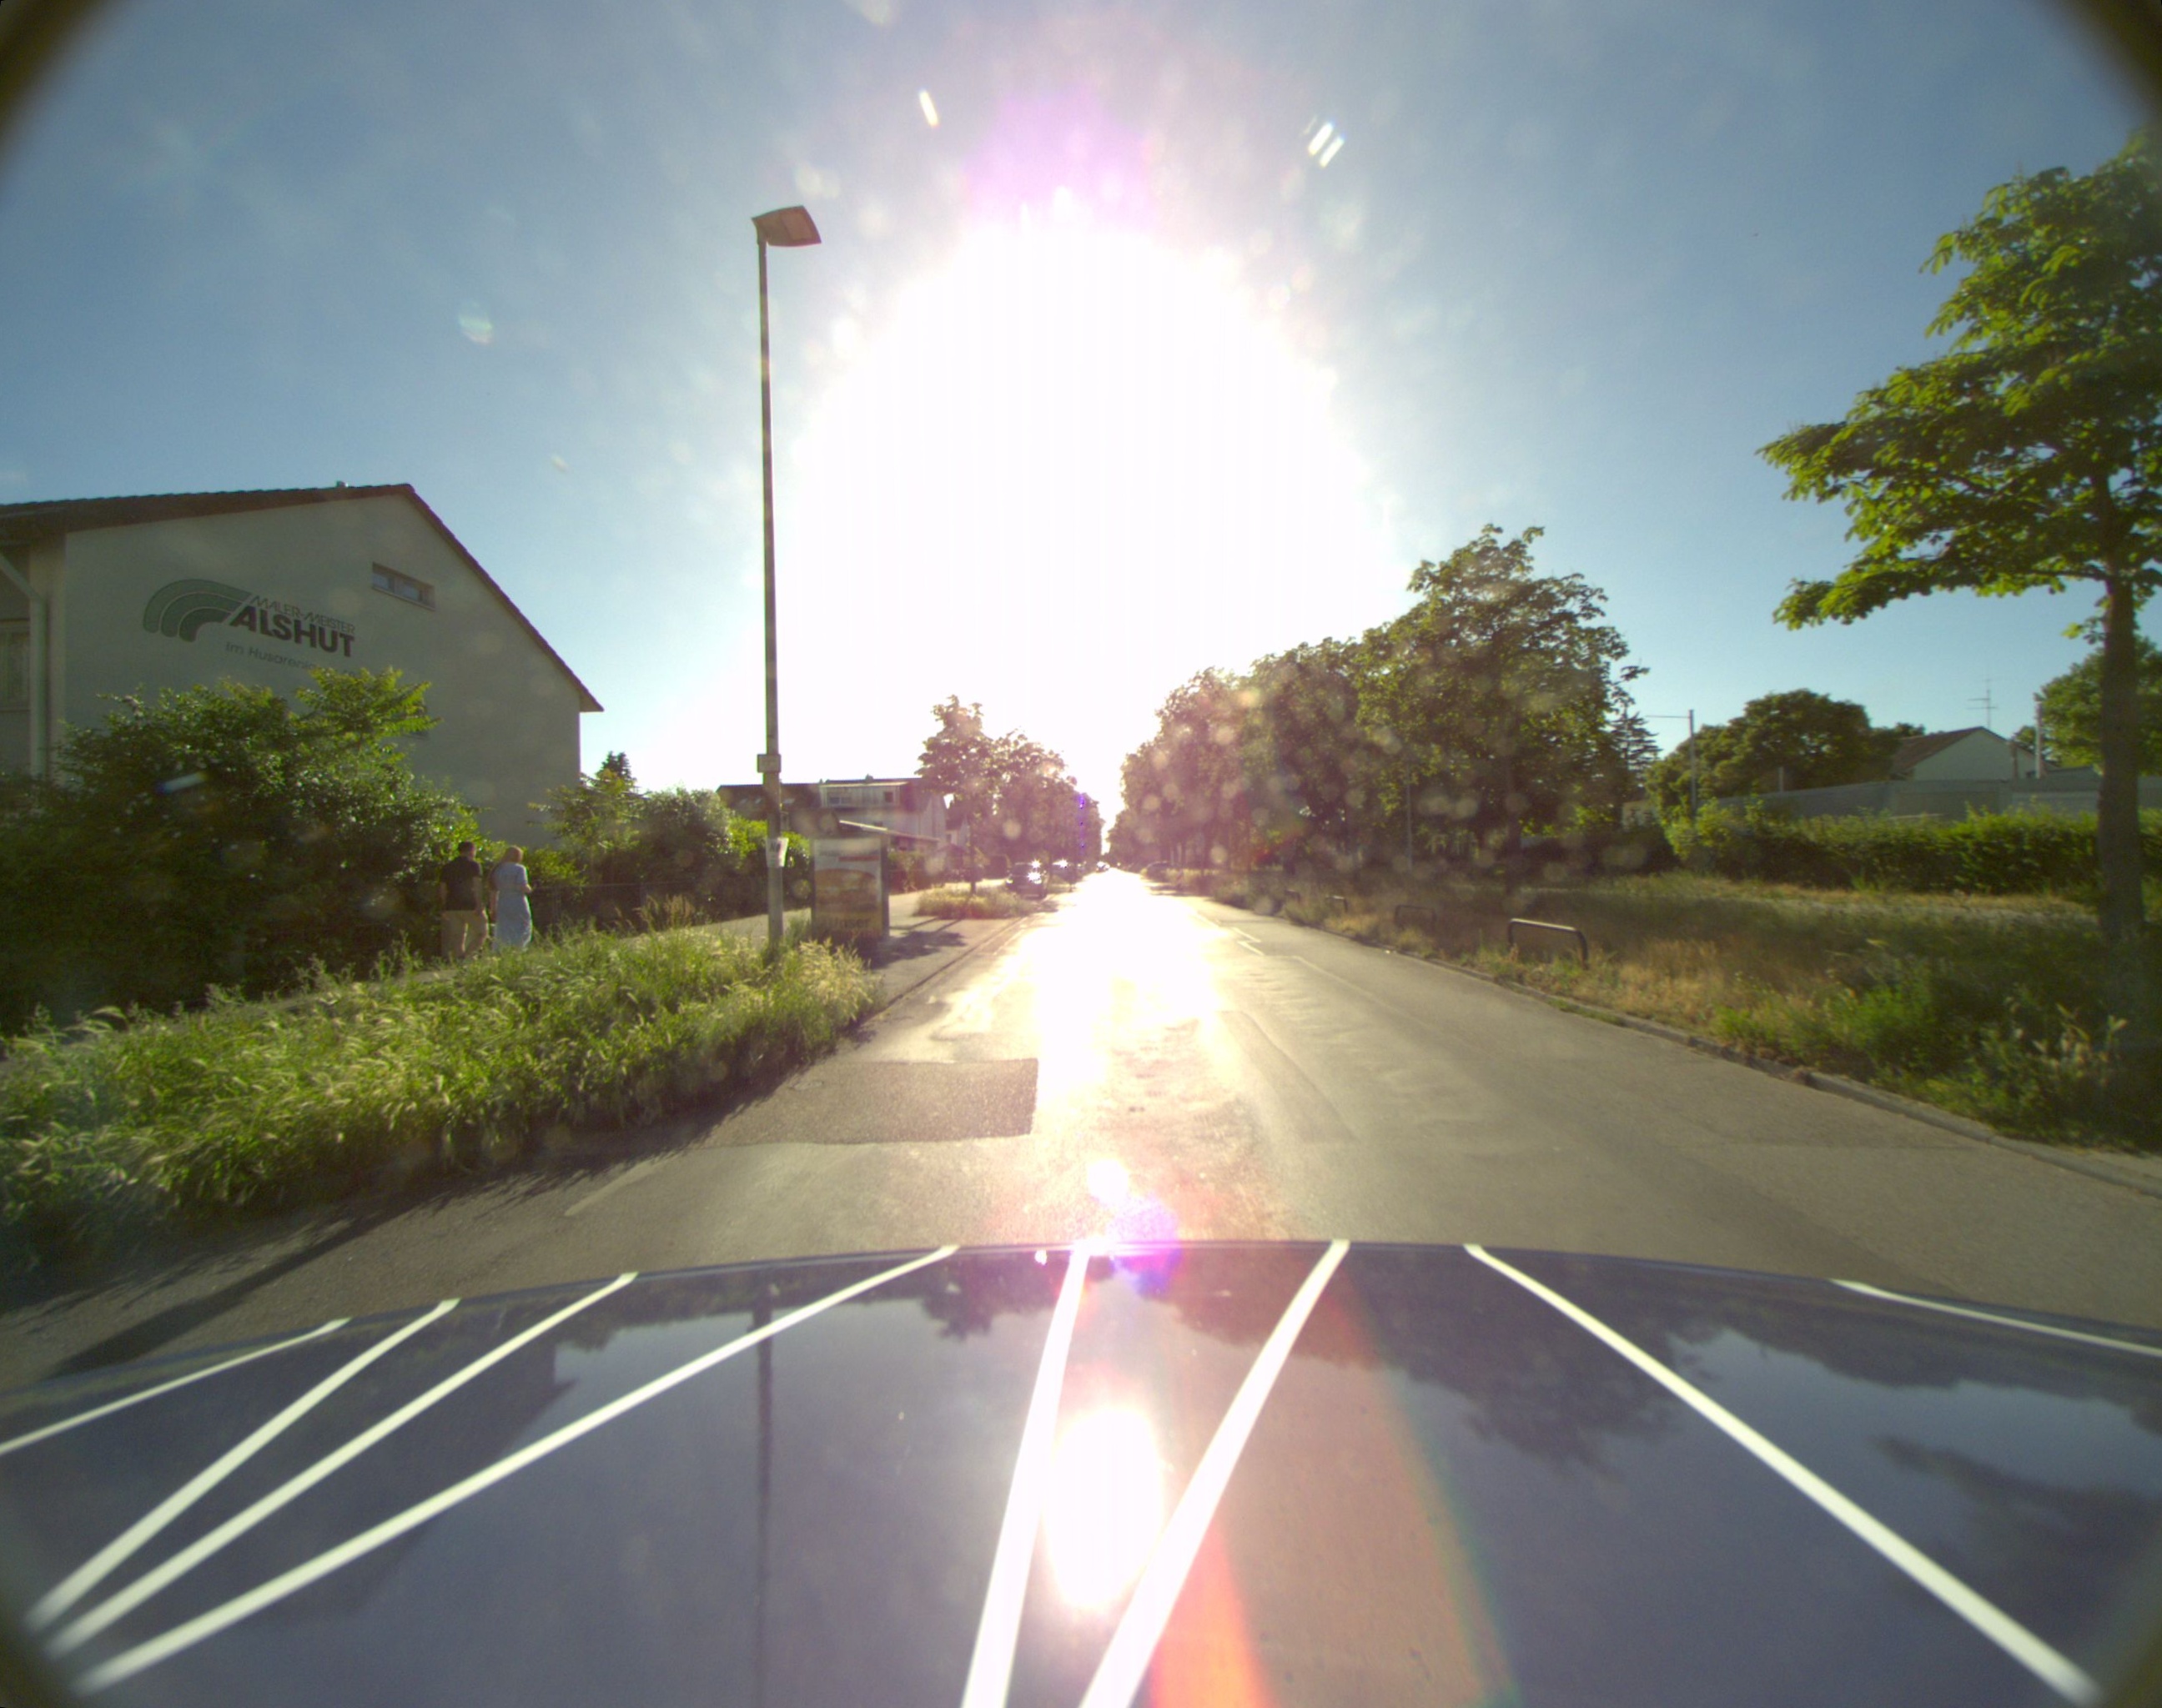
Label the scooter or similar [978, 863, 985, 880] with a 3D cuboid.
[{"bbox_3d":[-7.739,1.362,59.088,0.503,1.288,0.461,0,0,-2],"label":"scooter or similar"}]

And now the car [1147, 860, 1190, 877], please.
[{"bbox_3d":[9.108,1.496,79.244,4.203,1.552,2.000,-2,0,2],"label":"car"}]

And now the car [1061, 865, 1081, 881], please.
[{"bbox_3d":[-0.898,1.825,72.323,1.733,1.473,3.859,0,-1,1],"label":"car"}]

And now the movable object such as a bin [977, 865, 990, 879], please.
[{"bbox_3d":[-9.273,1.743,72.305,1.172,1.286,0.928,0,0,1],"label":"movable object such as a bin"}]

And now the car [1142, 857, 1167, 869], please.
[{"bbox_3d":[12.151,1.511,125.681,3.997,1.739,1.891,-2,0,1],"label":"car"}]

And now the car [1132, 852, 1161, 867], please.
[{"bbox_3d":[12.275,1.094,142.262,5.121,2.596,2.126,-2,0,5],"label":"car"}]

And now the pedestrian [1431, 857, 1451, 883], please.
[{"bbox_3d":[16.996,0.742,35.888,0.639,1.150,0.522,-4,0,1],"label":"pedestrian"}]

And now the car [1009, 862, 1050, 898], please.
[{"bbox_3d":[-2.329,1.141,34.816,1.497,1.564,3.601,1,0,2],"label":"car"}]

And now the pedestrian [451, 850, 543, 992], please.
[{"bbox_3d":[-7.386,0.828,9.632,0.555,1.722,0.662,-2,0,18],"label":"pedestrian"}]

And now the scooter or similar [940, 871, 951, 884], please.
[{"bbox_3d":[-8.256,1.444,46.316,0.450,0.712,1.228,3,0,1],"label":"scooter or similar"}]

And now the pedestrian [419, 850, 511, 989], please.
[{"bbox_3d":[-7.955,0.824,9.828,0.606,1.722,0.640,-2,0,18],"label":"pedestrian"}]

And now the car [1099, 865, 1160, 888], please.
[{"bbox_3d":[3.807,1.767,59.632,4.615,1.552,2.000,-2,0,2],"label":"car"}]

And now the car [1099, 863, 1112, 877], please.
[{"bbox_3d":[4.048,2.618,124.837,1.998,2.002,4.001,-2,0,2],"label":"car"}]

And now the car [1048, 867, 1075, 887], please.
[{"bbox_3d":[-1.552,1.859,61.598,1.732,1.568,3.859,0,0,5],"label":"car"}]
